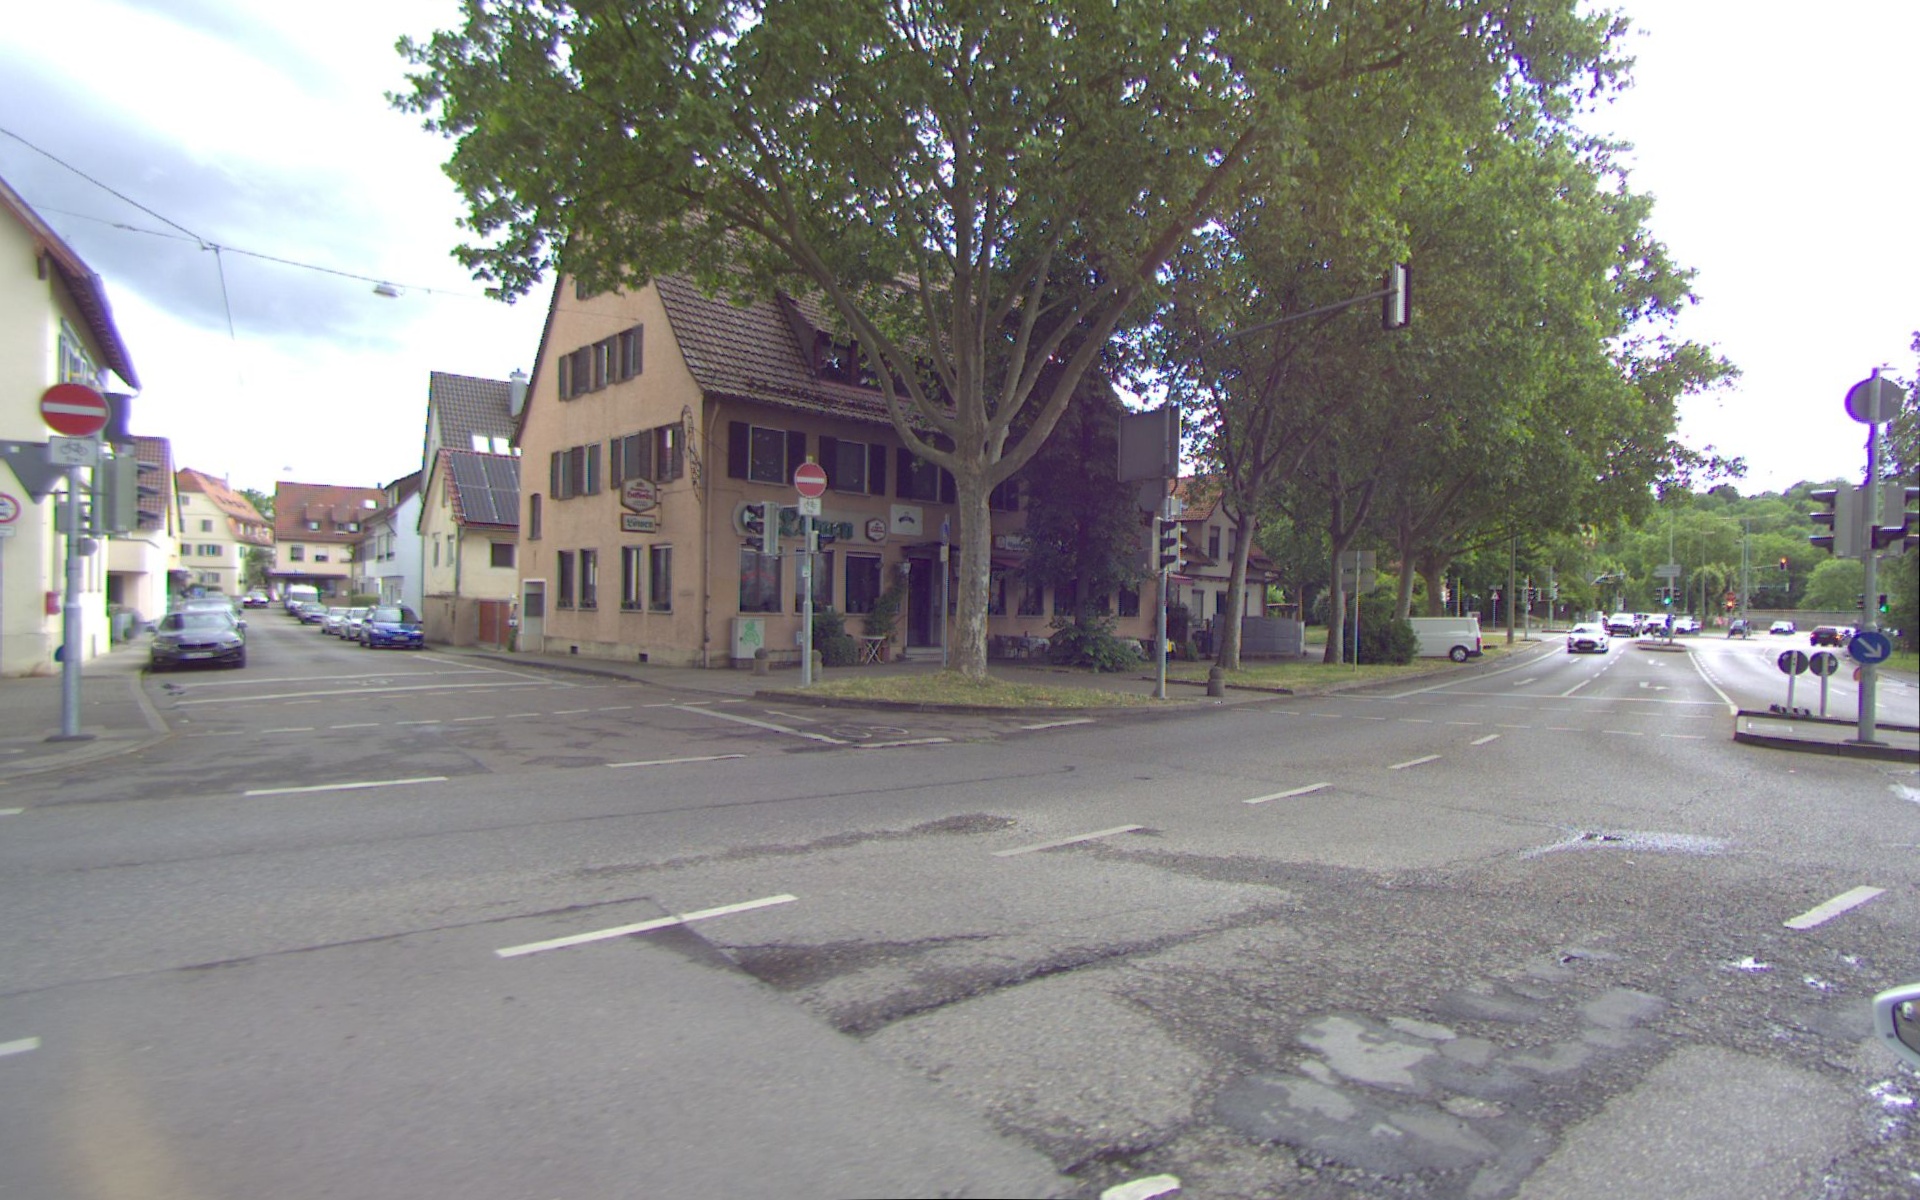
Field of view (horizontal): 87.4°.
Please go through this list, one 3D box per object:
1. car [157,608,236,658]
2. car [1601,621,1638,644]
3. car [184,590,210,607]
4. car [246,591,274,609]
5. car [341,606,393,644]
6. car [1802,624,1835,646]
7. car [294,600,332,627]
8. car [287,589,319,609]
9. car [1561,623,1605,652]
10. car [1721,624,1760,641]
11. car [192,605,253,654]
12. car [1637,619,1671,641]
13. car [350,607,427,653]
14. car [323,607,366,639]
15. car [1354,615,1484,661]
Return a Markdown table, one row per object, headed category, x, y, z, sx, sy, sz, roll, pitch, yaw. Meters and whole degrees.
| category | x | y | z | sx | sy | sz | roll | pitch | yaw |
| --- | --- | --- | --- | --- | --- | --- | --- | --- | --- |
| car | -22.126 | 0.940 | 29.183 | 1.696 | 1.332 | 3.824 | 2 | -1 | -37 |
| car | 48.920 | 2.394 | 74.524 | 1.775 | 1.608 | 4.394 | -2 | -1 | 40 |
| car | -74.167 | -0.170 | 97.658 | 1.813 | 1.534 | 3.626 | 2 | -1 | -40 |
| car | -64.422 | 0.005 | 92.405 | 1.813 | 1.534 | 3.626 | 2 | -1 | -40 |
| car | -26.436 | 1.109 | 44.761 | 1.748 | 1.574 | 3.678 | 2 | -1 | -34 |
| car | 63.851 | 2.569 | 74.689 | 1.802 | 1.529 | 4.551 | 1 | -1 | 41 |
| car | -44.488 | 0.900 | 69.007 | 1.981 | 1.773 | 3.959 | 2 | -1 | -36 |
| car | -54.938 | -0.101 | 83.948 | 1.813 | 1.598 | 3.626 | 2 | -1 | -40 |
| car | 33.167 | 1.994 | 53.423 | 1.739 | 1.485 | 4.008 | 0 | -2 | 36 |
| car | 82.709 | 3.414 | 106.434 | 1.424 | 1.258 | 3.029 | -15 | 11 | -37 |
| car | -27.671 | 1.078 | 37.672 | 1.730 | 1.706 | 3.803 | 2 | -1 | -37 |
| car | 59.089 | 2.510 | 85.528 | 1.889 | 1.787 | 4.728 | 1 | 0 | 41 |
| car | -20.819 | 1.074 | 36.527 | 1.813 | 1.534 | 3.626 | 2 | -1 | -40 |
| car | -32.309 | 1.168 | 52.673 | 1.748 | 1.574 | 3.678 | 2 | -1 | -34 |
| car | 20.338 | 1.684 | 44.752 | 5.143 | 1.956 | 2.083 | -1 | -1 | 23 |
